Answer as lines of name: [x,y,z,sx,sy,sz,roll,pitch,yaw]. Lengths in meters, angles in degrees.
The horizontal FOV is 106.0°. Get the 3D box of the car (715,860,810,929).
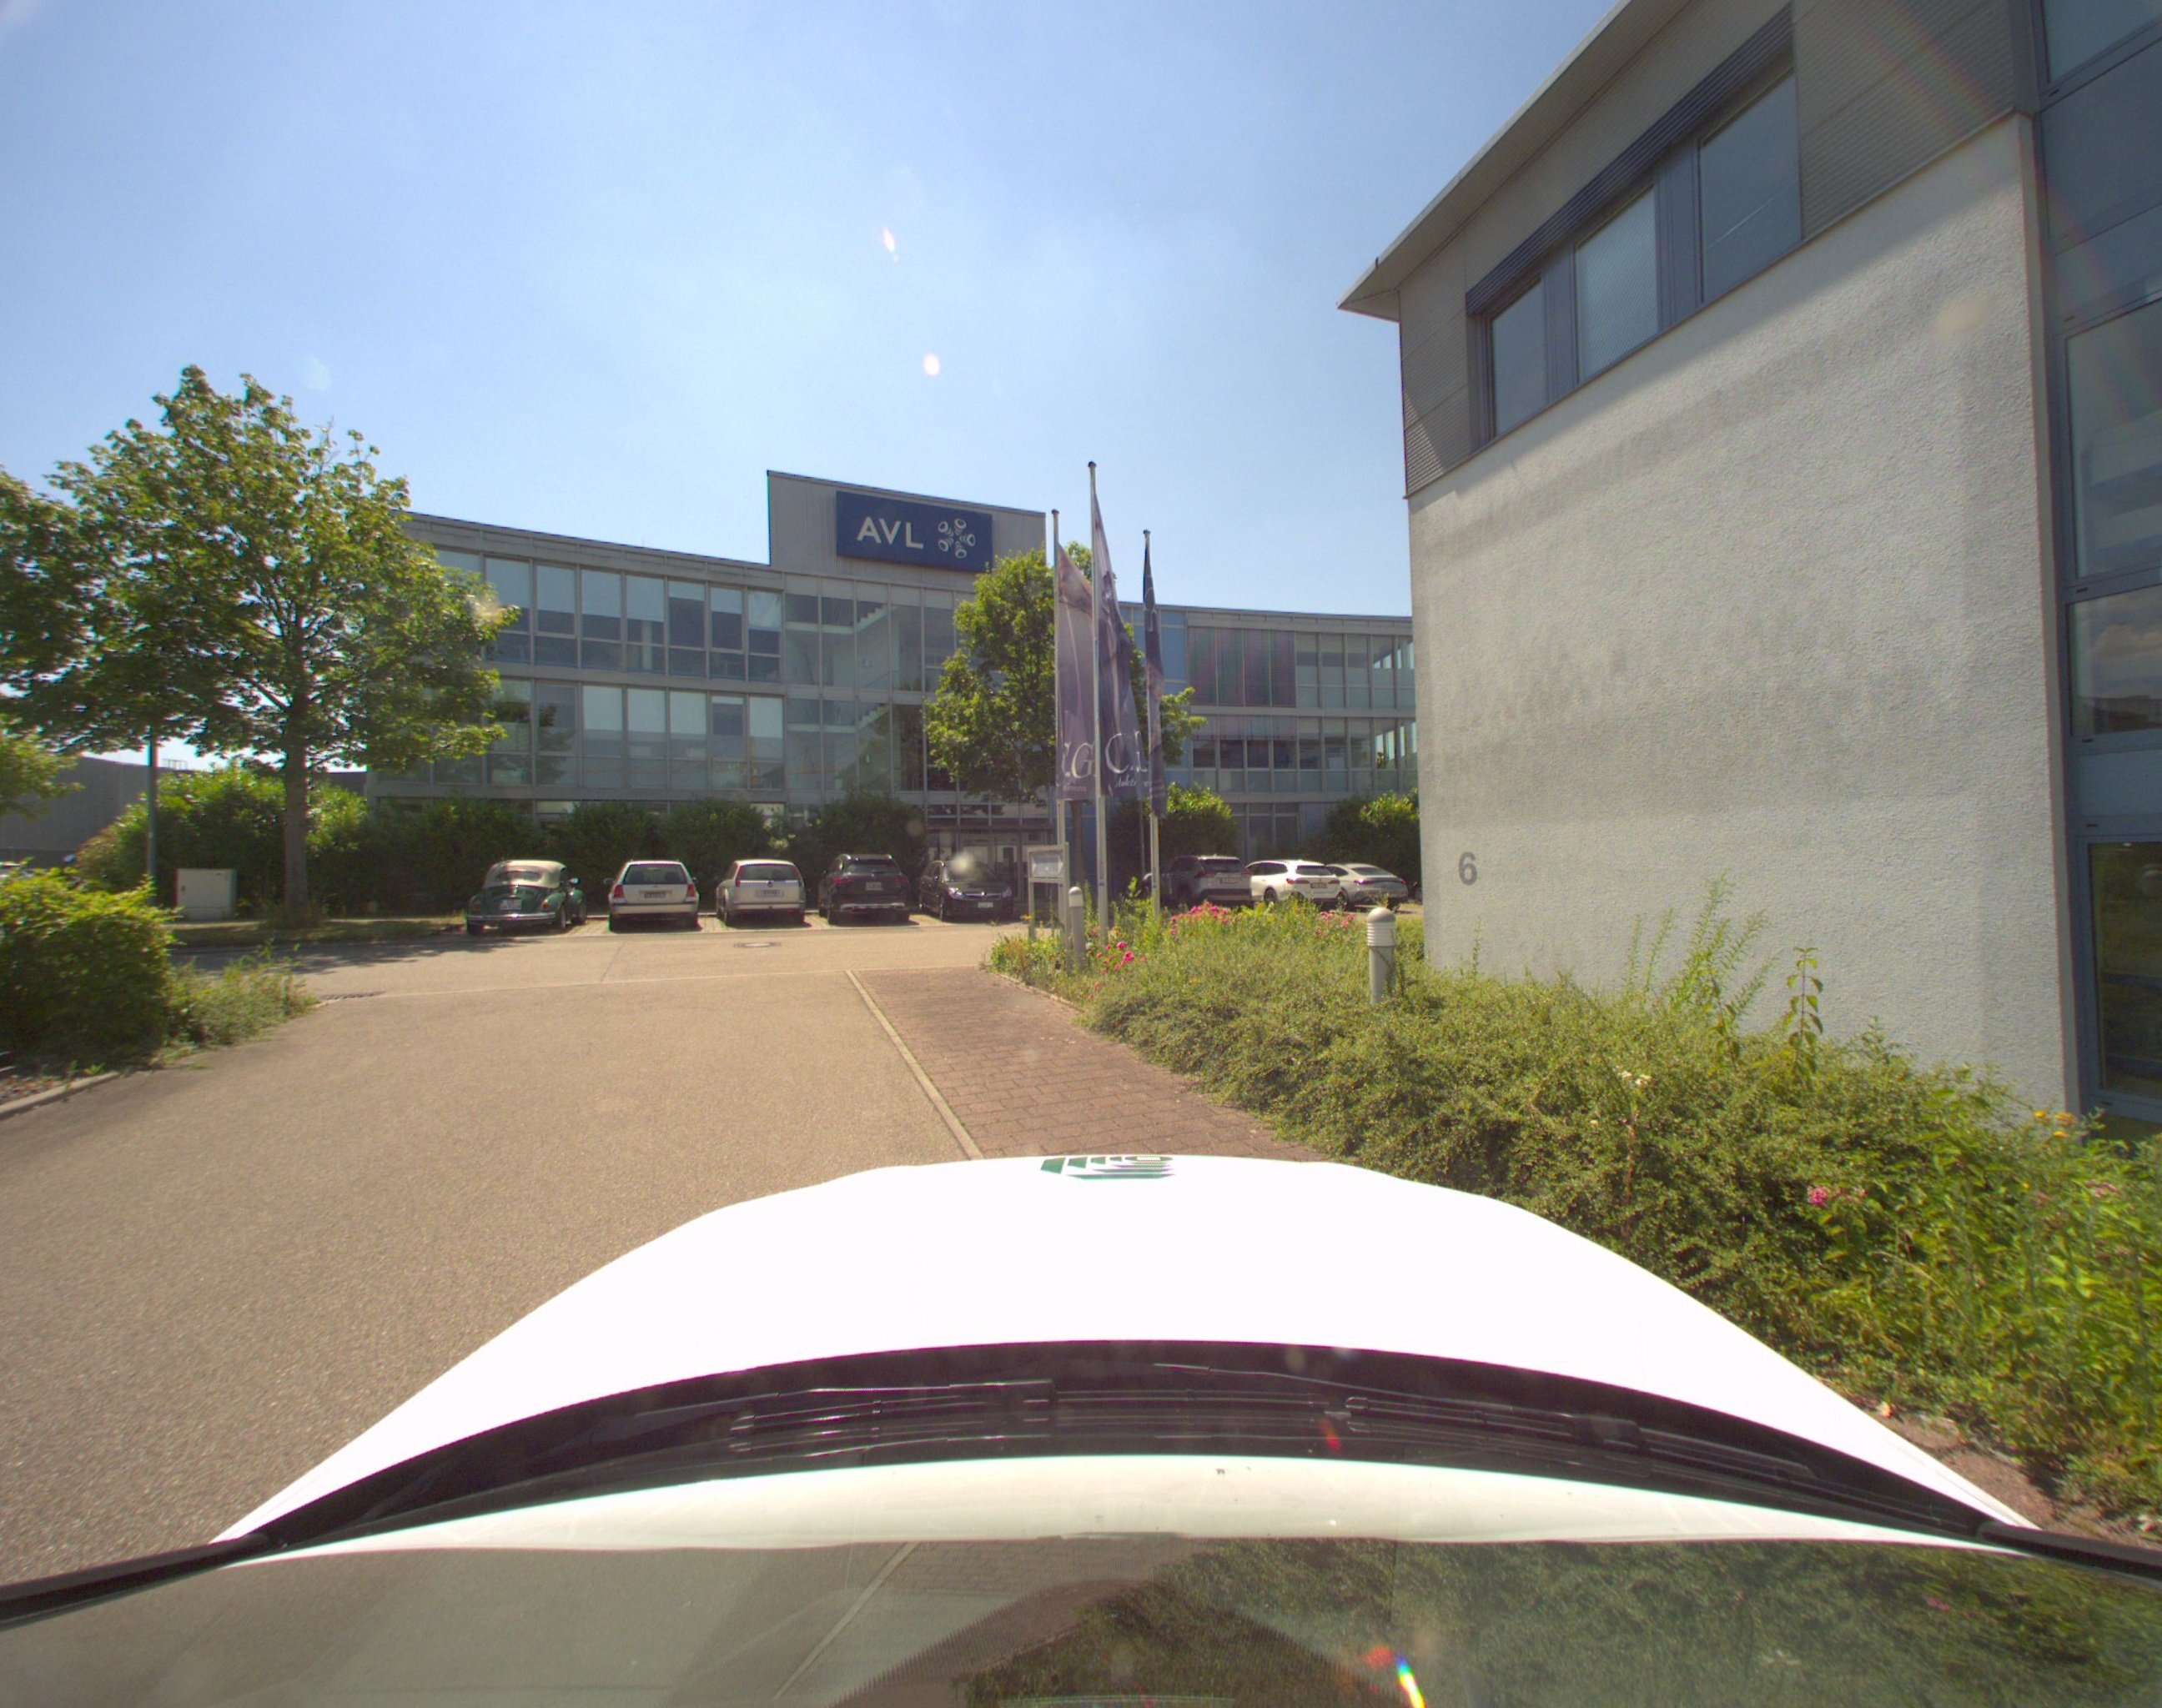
car: [-7.733,0.892,19.604,1.775,1.449,3.622,1,0,-27]

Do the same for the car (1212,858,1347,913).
car: [5.813,0.873,24.434,1.743,1.492,4.307,1,0,-23]

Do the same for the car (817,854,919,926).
car: [-5.412,0.809,20.348,1.935,1.611,3.956,1,0,-23]

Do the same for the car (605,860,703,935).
car: [-9.495,0.884,18.206,1.741,1.449,3.622,1,0,-27]

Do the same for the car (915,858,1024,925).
car: [-2.999,0.880,21.181,1.777,1.482,4.226,-1,0,-23]

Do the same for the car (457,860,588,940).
car: [-11.549,0.863,17.067,1.548,1.449,3.626,1,0,-23]

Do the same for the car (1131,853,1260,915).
car: [3.232,0.802,23.924,1.827,1.619,4.307,-1,0,-23]

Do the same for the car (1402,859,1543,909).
car: [12.707,0.921,26.773,1.738,1.447,4.528,1,0,-13]

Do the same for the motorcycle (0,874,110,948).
motorcycle: [-17.733,0.934,13.859,0.716,1.138,1.943,-1,0,-22]

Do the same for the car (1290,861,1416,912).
car: [8.349,0.945,25.414,1.738,1.429,4.320,1,0,-13]
